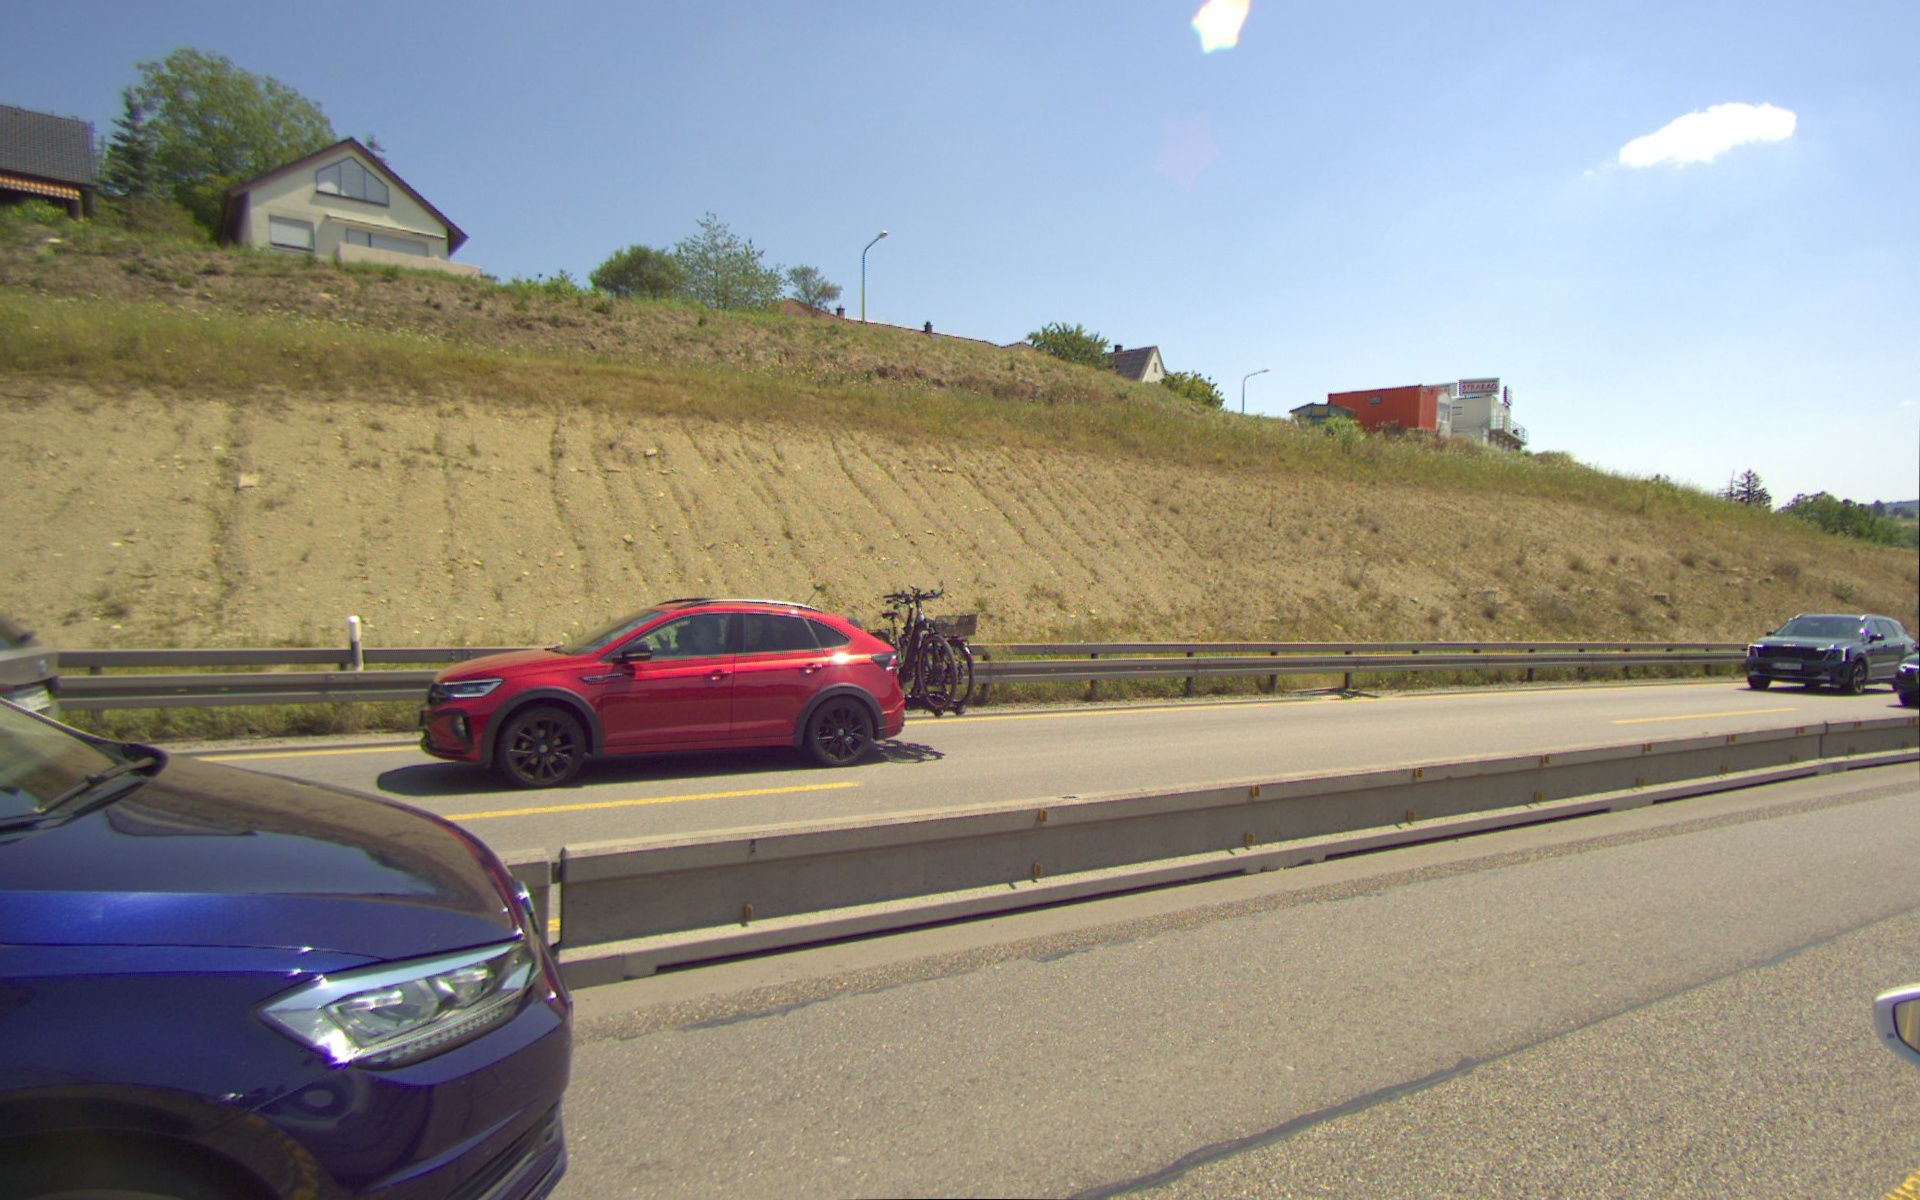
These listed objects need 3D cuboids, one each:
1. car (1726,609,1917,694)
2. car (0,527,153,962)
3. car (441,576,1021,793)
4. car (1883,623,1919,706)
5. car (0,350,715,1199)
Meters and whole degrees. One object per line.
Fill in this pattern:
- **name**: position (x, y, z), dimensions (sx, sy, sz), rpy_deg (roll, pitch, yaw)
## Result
- **car**: position (19.146, 1.080, 22.277), dimensions (4.614, 1.694, 1.844), rpy_deg (1, 0, -31)
- **car**: position (-6.024, 0.507, 3.584), dimensions (4.634, 1.688, 1.836), rpy_deg (1, 0, -31)
- **car**: position (-1.993, 0.662, 9.474), dimensions (5.067, 1.606, 1.676), rpy_deg (1, 0, -31)
- **car**: position (19.218, 1.196, 18.619), dimensions (4.892, 1.446, 1.788), rpy_deg (1, 0, -31)
- **car**: position (-2.870, 0.520, 1.466), dimensions (4.597, 1.741, 1.767), rpy_deg (0, 1, -30)
